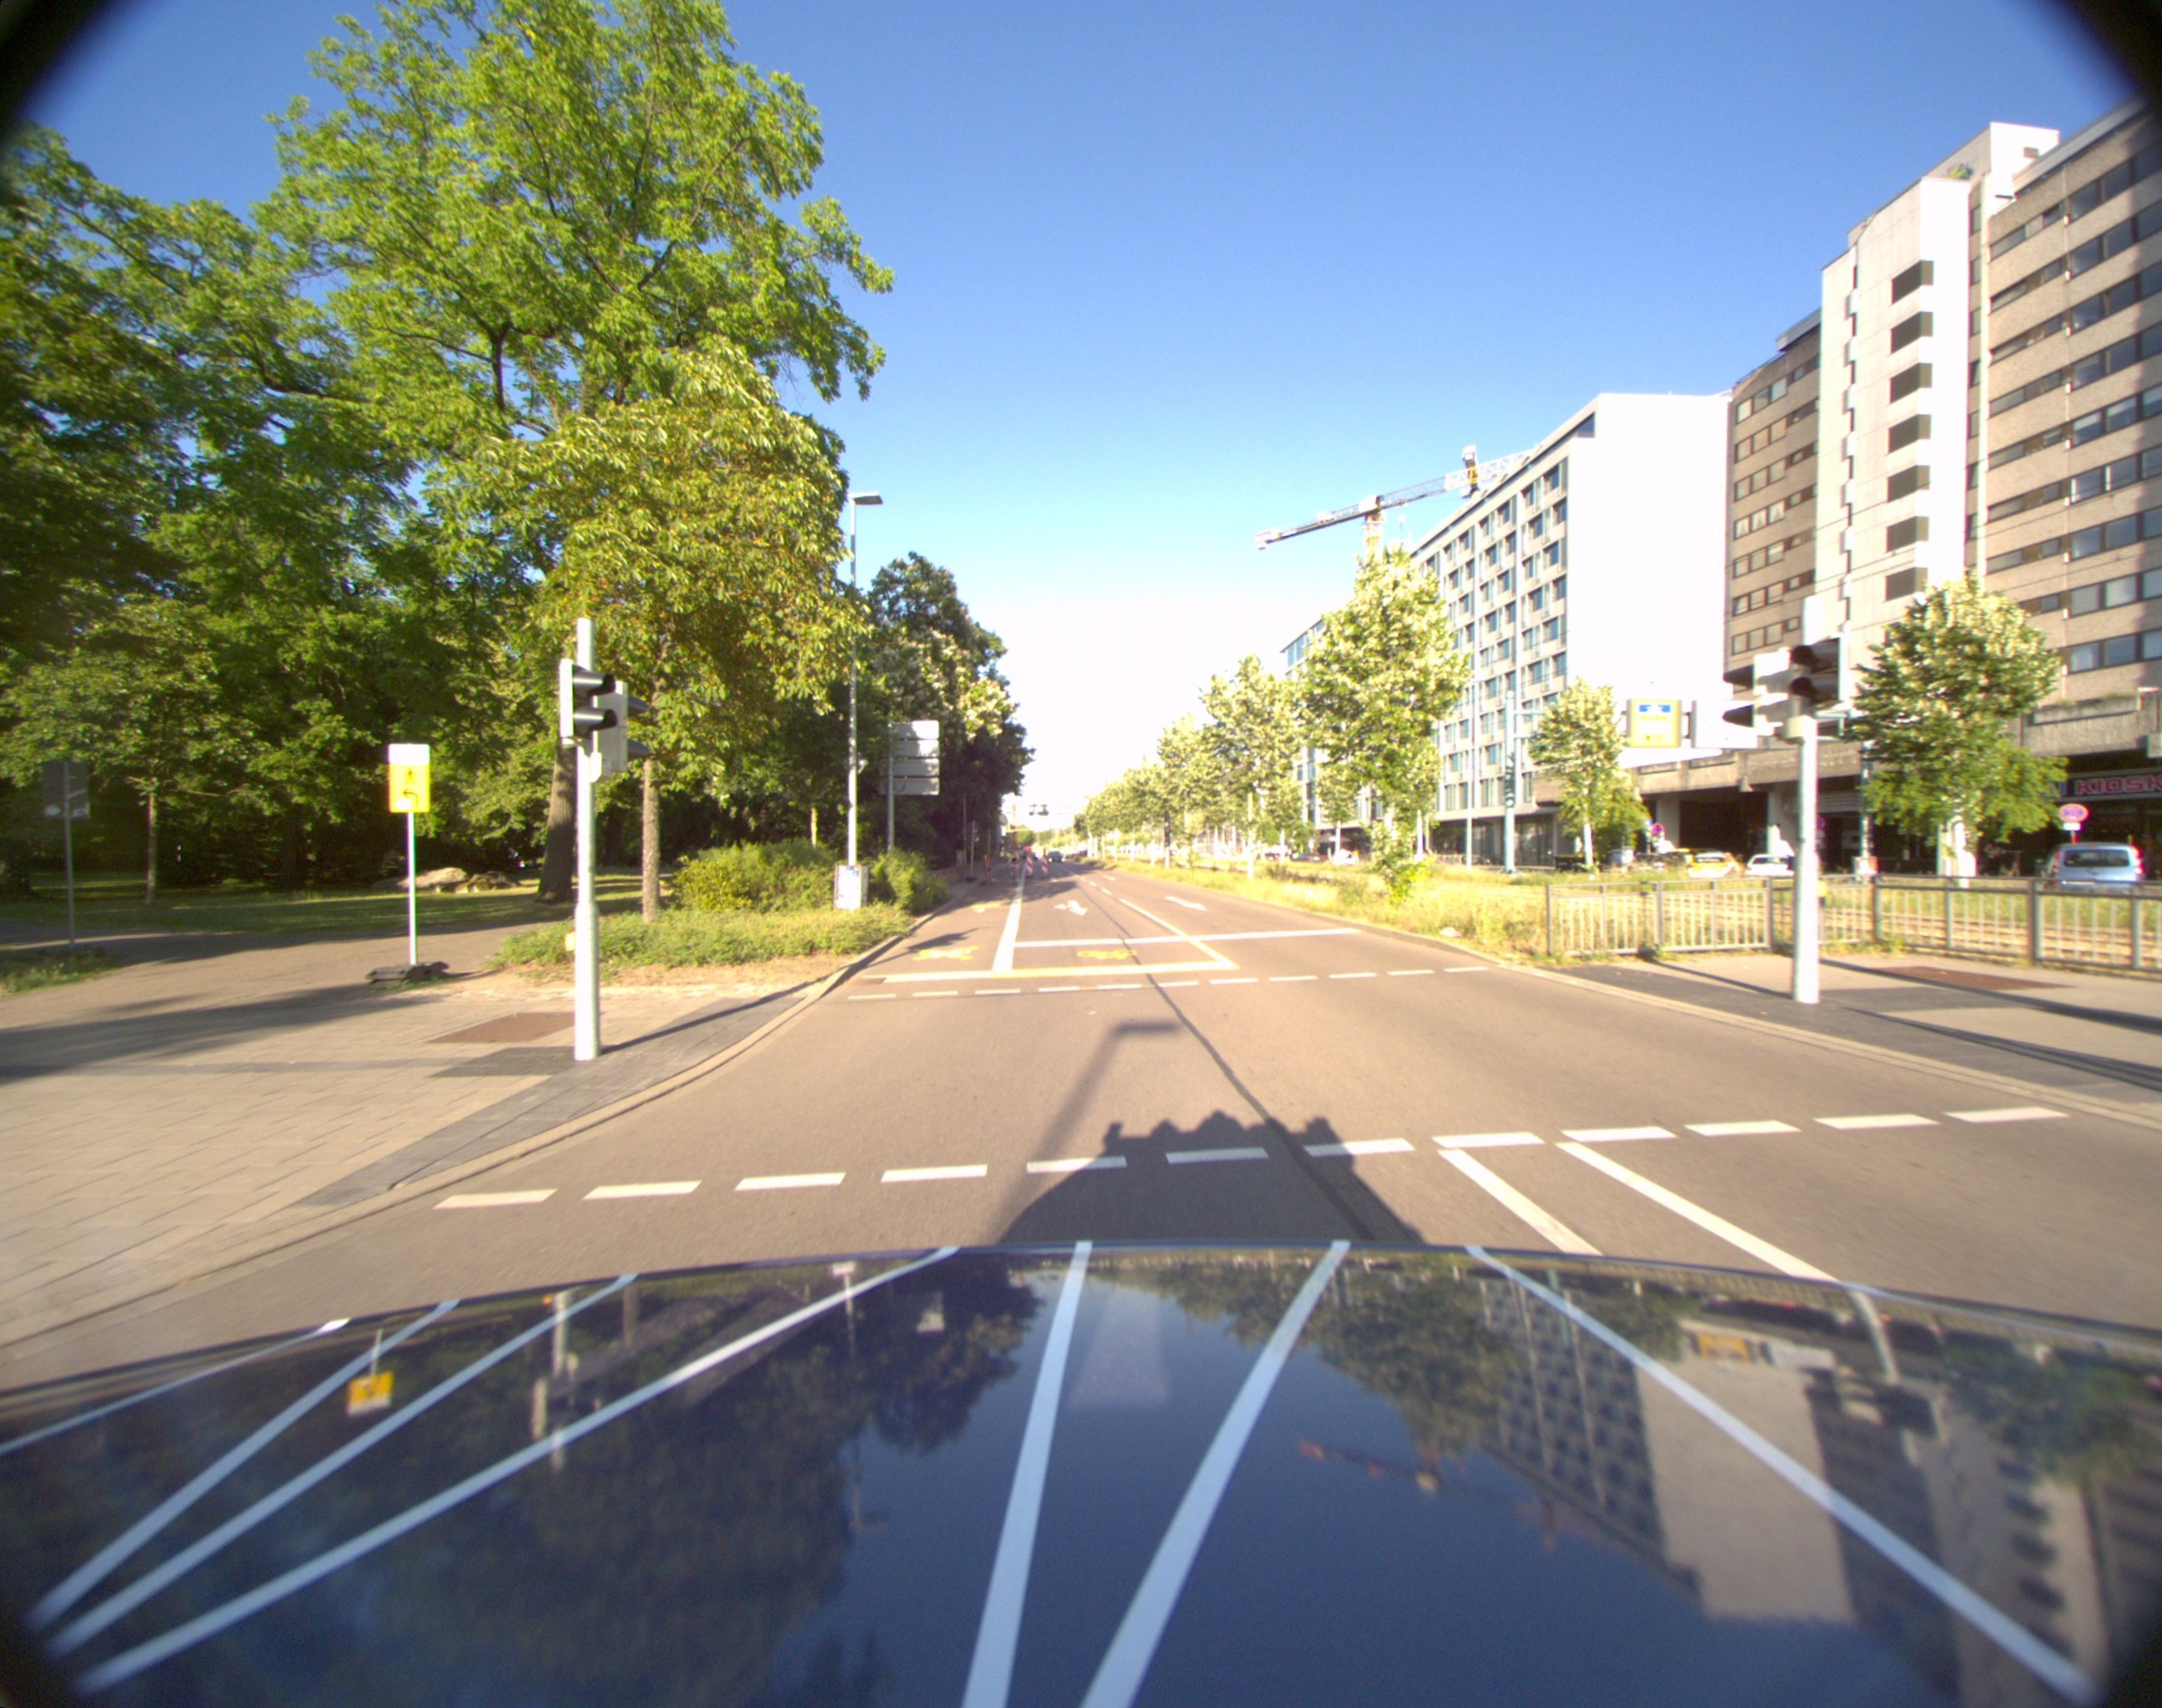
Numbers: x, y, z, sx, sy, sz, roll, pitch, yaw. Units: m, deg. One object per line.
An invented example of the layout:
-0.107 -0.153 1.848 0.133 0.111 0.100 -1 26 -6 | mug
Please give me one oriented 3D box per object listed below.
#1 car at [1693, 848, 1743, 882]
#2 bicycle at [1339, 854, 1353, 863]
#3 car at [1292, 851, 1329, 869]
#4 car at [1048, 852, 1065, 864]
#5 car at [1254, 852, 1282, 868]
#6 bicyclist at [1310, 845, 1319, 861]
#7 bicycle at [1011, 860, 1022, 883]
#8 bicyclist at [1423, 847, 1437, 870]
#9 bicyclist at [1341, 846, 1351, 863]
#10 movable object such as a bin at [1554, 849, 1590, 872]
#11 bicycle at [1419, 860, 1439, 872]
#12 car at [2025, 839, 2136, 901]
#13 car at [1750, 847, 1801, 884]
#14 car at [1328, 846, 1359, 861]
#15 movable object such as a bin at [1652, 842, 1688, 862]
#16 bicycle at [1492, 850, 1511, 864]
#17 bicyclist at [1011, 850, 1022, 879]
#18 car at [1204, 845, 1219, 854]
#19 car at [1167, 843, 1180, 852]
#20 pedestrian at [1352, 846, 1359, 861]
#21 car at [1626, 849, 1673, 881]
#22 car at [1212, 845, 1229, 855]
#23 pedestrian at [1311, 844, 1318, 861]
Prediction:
30.830 0.509 36.740 1.785 1.436 3.809 -1 2 41 | car
25.847 0.399 74.197 0.437 0.858 2.101 0 1 -5 | bicycle
22.219 0.565 73.803 1.875 1.579 4.636 -2 1 -3 | car
-2.967 0.502 92.561 1.999 1.346 3.999 0 1 -2 | car
21.859 0.668 88.985 1.875 1.693 4.486 -2 1 -3 | car
24.412 -0.077 79.455 0.539 1.647 0.919 0 1 -5 | bicyclist
-3.069 0.836 36.312 0.506 1.018 1.504 -1 1 -4 | bicycle
26.602 0.363 57.911 0.559 1.735 0.919 0 1 -5 | bicyclist
25.836 0.012 74.154 0.539 1.647 0.919 0 1 -5 | bicyclist
29.429 0.402 45.535 1.390 1.363 1.170 0 1 -5 | movable object such as a bin
26.585 0.894 58.060 0.437 0.858 2.101 0 1 -5 | bicycle
31.705 0.447 24.215 4.204 1.681 1.616 -3 2 -44 | car
31.127 0.502 34.041 1.616 1.436 3.800 -1 2 43 | car
27.392 -0.044 79.490 1.875 1.458 3.388 -2 1 -4 | car
39.177 -0.146 50.557 1.390 1.326 1.233 0 1 -5 | movable object such as a bin
35.826 0.235 64.767 0.395 1.223 1.718 0 1 -13 | bicycle
-3.099 0.491 36.337 0.516 1.399 0.805 0 1 -4 | bicyclist
23.344 -0.805 136.071 1.875 1.582 3.481 -2 1 -3 | car
19.147 -1.308 157.224 1.875 1.742 3.791 -2 1 -3 | car
30.188 -0.062 83.600 0.479 1.626 0.597 0 1 -3 | pedestrian
30.409 0.550 40.587 1.616 1.436 4.555 -1 2 41 | car
20.800 -0.595 113.640 1.614 1.370 3.877 -2 1 -3 | car
28.885 -0.193 93.935 0.622 2.002 0.725 0 1 -3 | pedestrian
